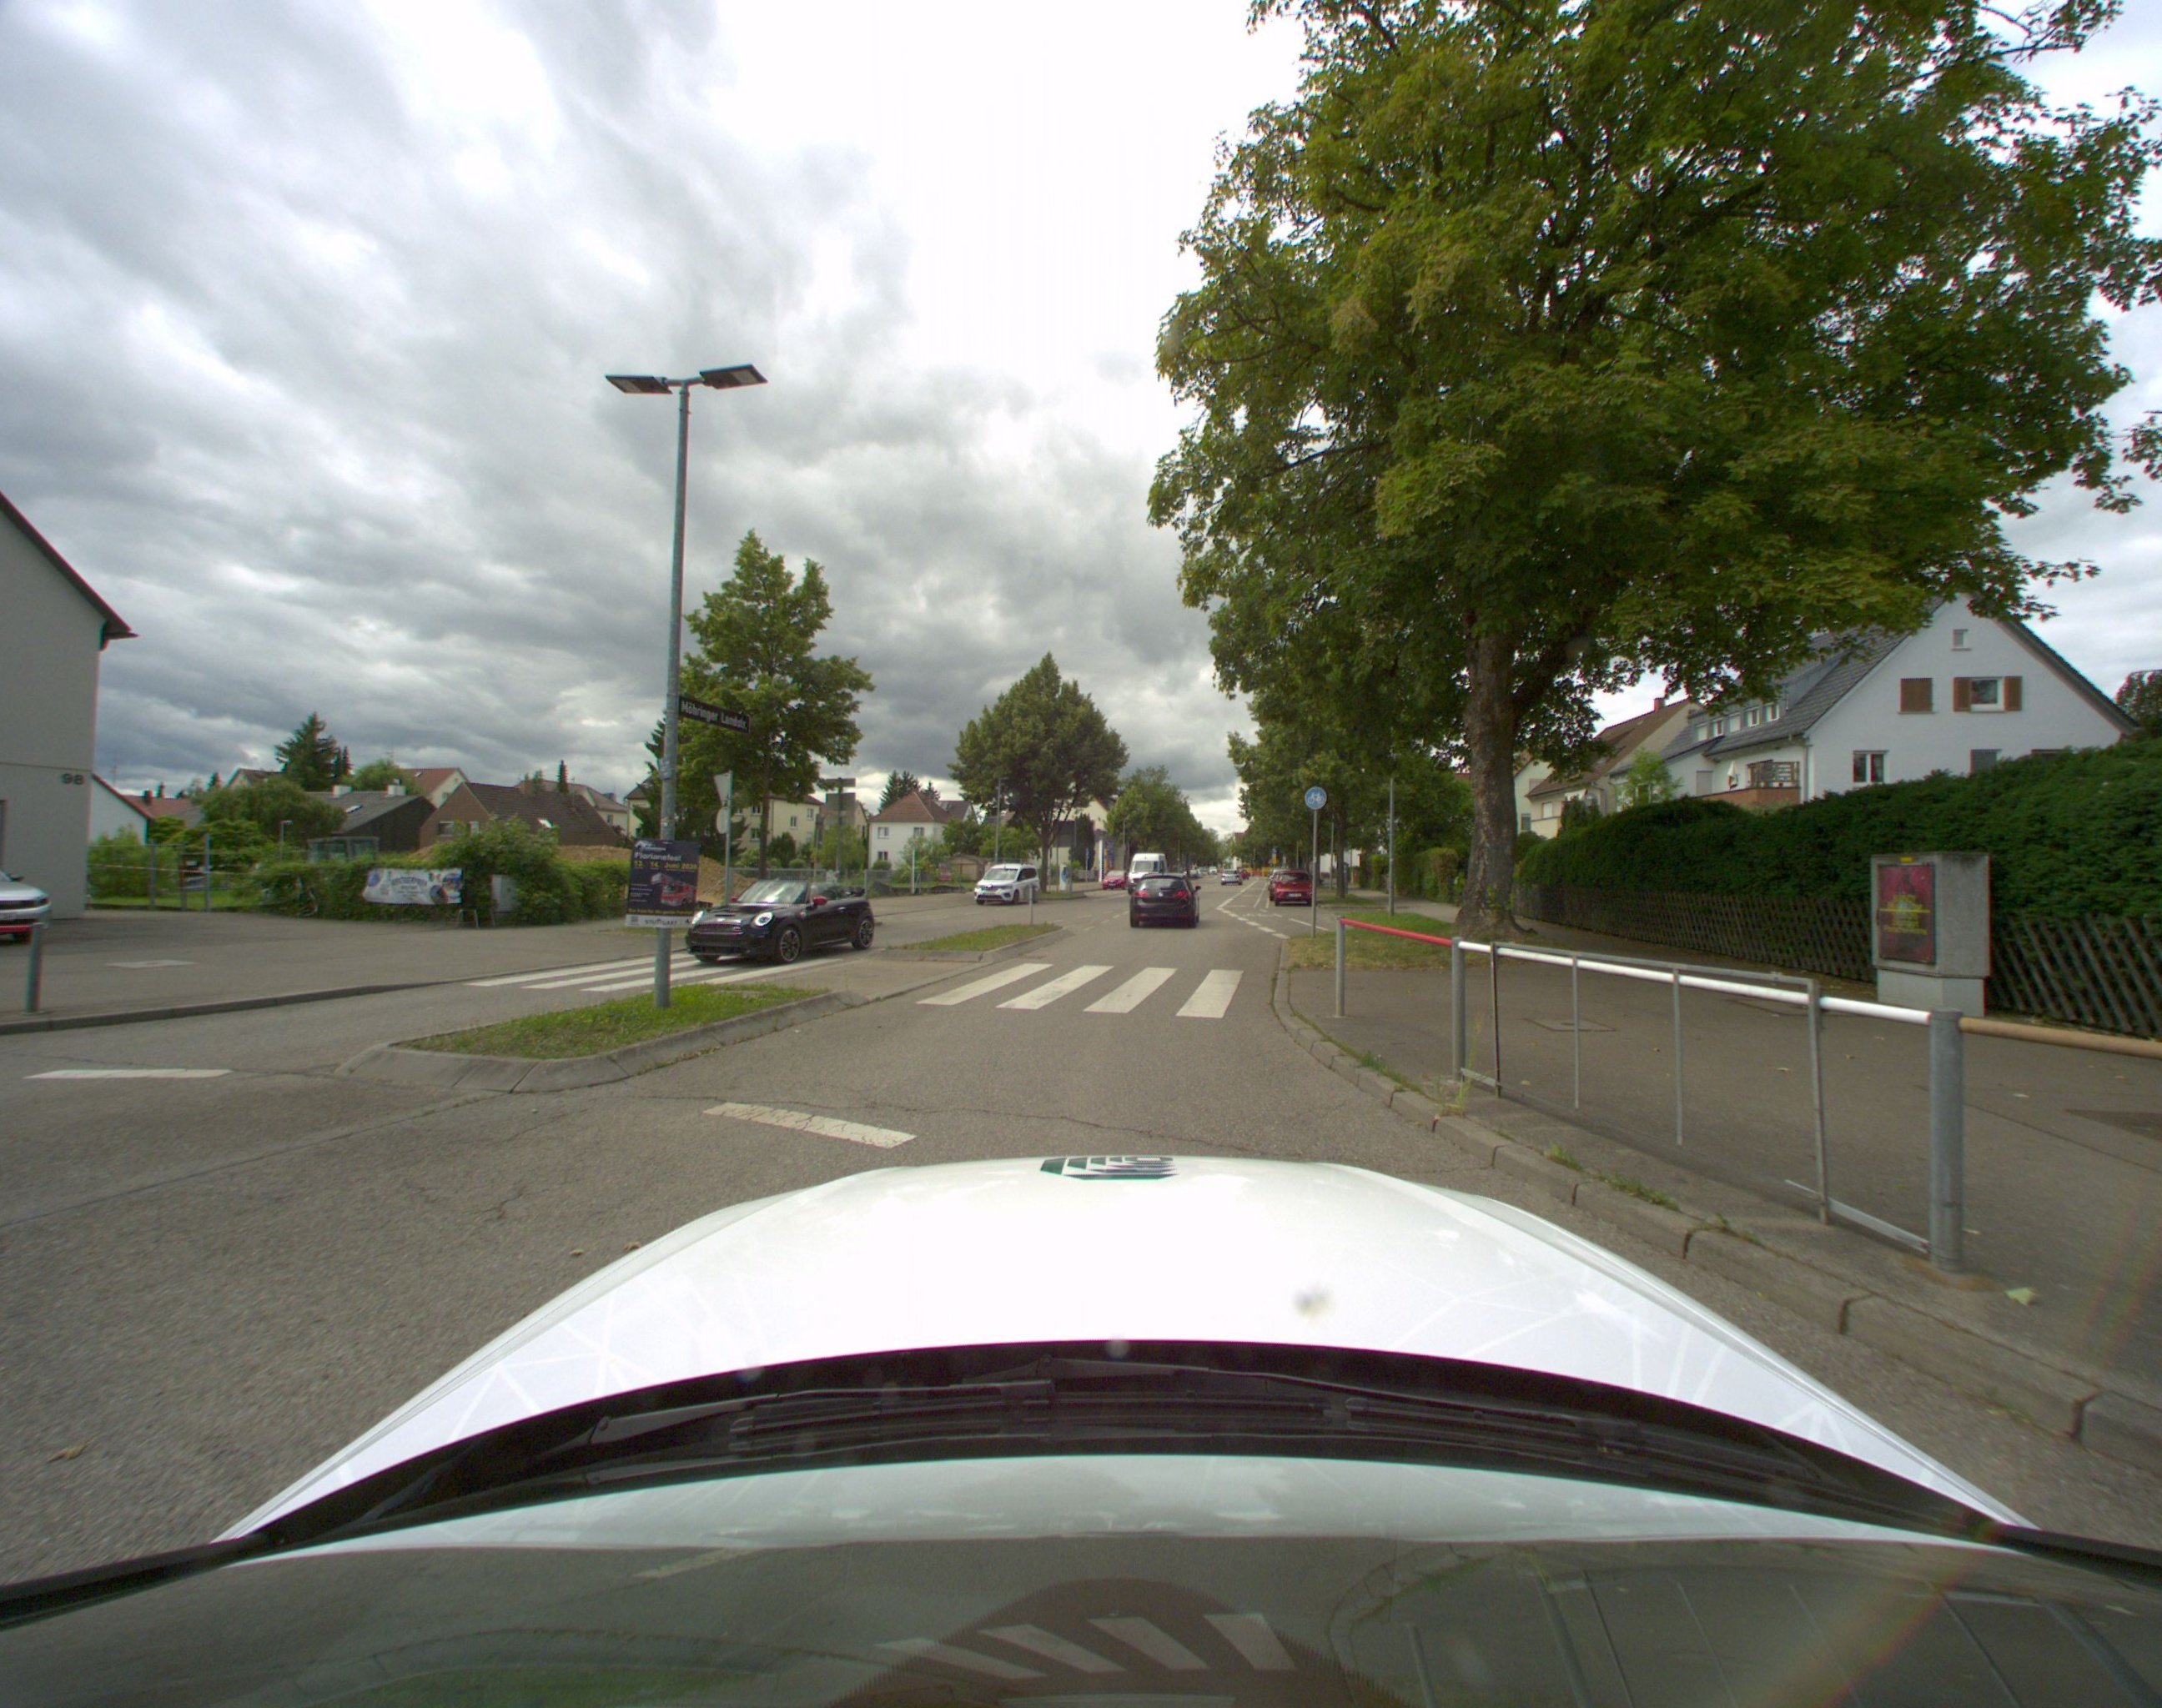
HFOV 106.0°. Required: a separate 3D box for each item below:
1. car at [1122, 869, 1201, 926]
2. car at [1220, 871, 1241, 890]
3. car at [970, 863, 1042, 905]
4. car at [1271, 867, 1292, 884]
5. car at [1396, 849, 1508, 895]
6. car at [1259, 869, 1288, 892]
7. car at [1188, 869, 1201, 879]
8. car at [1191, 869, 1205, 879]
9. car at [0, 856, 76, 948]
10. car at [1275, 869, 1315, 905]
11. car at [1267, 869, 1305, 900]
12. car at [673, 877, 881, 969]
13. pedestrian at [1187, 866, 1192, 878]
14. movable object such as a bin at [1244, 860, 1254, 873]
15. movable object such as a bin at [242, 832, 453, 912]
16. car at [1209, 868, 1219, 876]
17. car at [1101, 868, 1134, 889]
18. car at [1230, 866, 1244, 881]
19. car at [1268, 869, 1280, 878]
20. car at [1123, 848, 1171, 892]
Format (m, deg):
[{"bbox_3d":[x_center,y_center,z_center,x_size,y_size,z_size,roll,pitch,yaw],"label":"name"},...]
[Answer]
[{"bbox_3d":[2.307,1.141,22.464,1.807,1.438,3.750,-1,-1,11],"label":"car"},{"bbox_3d":[14.078,2.482,76.441,1.894,1.686,3.750,-1,-1,11],"label":"car"},{"bbox_3d":[-3.316,1.302,36.806,1.757,1.771,4.569,0,-1,15],"label":"car"},{"bbox_3d":[19.229,2.065,78.240,1.711,1.580,4.073,0,-1,11],"label":"car"},{"bbox_3d":[21.765,1.035,47.972,5.680,2.592,2.003,0,0,8],"label":"car"},{"bbox_3d":[13.471,1.825,57.144,1.793,1.475,4.827,0,-1,12],"label":"car"},{"bbox_3d":[16.867,2.966,121.084,1.632,1.420,4.033,-1,-1,12],"label":"car"},{"bbox_3d":[18.346,3.135,127.812,1.702,1.406,4.316,-1,-1,14],"label":"car"},{"bbox_3d":[-18.795,0.725,13.083,3.891,1.402,1.753,1,-1,13],"label":"car"},{"bbox_3d":[9.097,1.391,34.801,1.554,1.455,3.680,0,-2,13],"label":"car"},{"bbox_3d":[10.191,1.498,40.668,1.642,1.416,4.190,-1,-1,11],"label":"car"},{"bbox_3d":[-5.234,1.117,14.568,1.561,1.362,3.757,0,-1,15],"label":"car"},{"bbox_3d":[15.212,2.498,113.847,0.538,1.681,0.754,1,0,21],"label":"pedestrian"},{"bbox_3d":[32.778,2.406,158.946,1.757,2.574,3.750,0,-1,11],"label":"movable object such as a bin"},{"bbox_3d":[-21.746,0.530,24.419,1.884,2.188,4.375,0,-1,11],"label":"movable object such as a bin"},{"bbox_3d":[31.607,4.270,193.346,1.953,1.830,4.835,0,-1,13],"label":"car"},{"bbox_3d":[2.838,1.841,62.299,1.673,1.541,4.148,0,-1,15],"label":"car"},{"bbox_3d":[20.994,2.617,109.667,1.895,1.882,4.011,0,-1,10],"label":"car"},{"bbox_3d":[30.010,3.055,126.652,1.694,1.455,4.631,-1,-1,12],"label":"car"},{"bbox_3d":[4.315,1.019,52.415,2.004,2.674,5.828,0,-1,15],"label":"car"}]
